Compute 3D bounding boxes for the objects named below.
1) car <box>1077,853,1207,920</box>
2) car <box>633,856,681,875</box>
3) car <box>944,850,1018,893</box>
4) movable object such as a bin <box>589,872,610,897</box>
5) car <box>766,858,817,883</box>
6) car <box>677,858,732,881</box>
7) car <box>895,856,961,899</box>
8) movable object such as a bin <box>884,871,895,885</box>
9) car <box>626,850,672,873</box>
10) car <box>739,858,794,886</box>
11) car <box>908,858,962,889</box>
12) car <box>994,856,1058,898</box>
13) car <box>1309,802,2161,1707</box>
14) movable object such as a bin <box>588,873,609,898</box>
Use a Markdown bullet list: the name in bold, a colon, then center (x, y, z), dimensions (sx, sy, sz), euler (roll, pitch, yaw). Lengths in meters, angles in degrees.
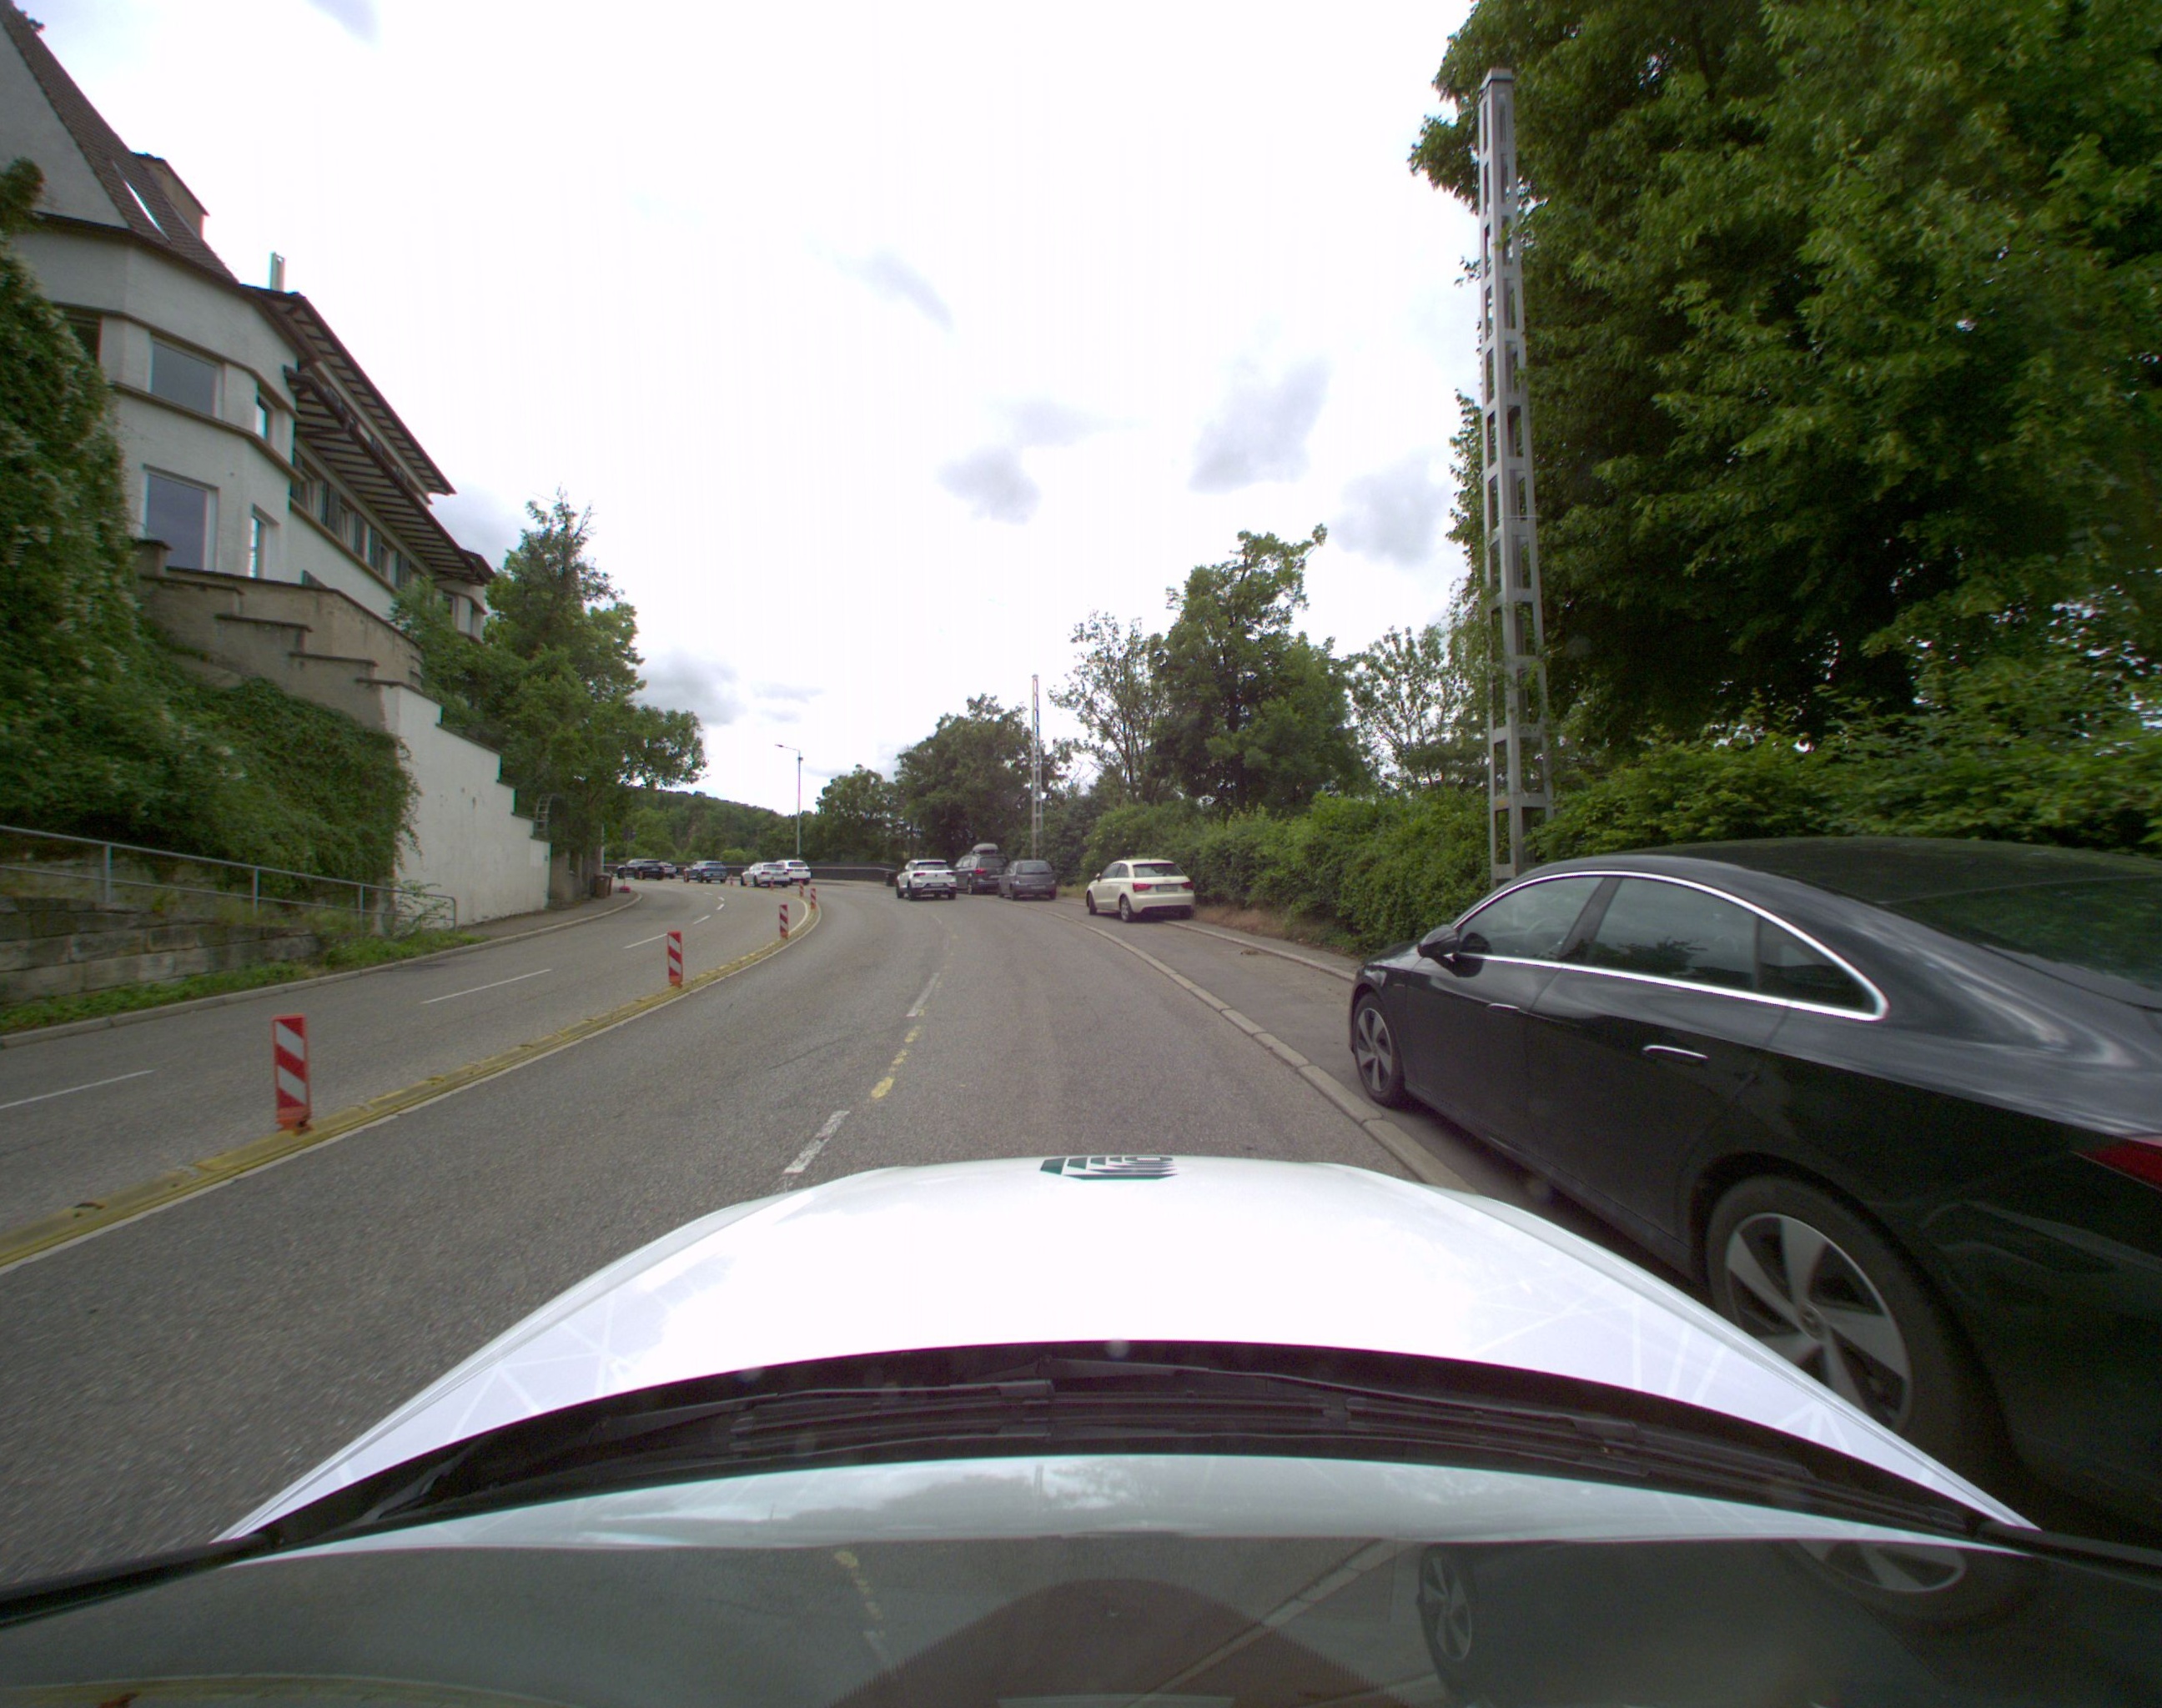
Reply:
- **car**: center (1.378, 0.743, 20.165), dimensions (1.782, 1.418, 3.975), euler (-2, 0, -19)
- **car**: center (-35.848, 0.991, 68.935), dimensions (3.493, 1.525, 1.709), euler (1, -1, 23)
- **car**: center (-4.463, 0.747, 35.686), dimensions (1.808, 1.772, 4.567), euler (1, -1, -26)
- **movable object such as a bin**: center (-18.911, 1.206, 31.991), dimensions (0.610, 0.949, 0.575), euler (2, -2, -27)
- **car**: center (-19.100, 1.053, 53.621), dimensions (2.009, 1.586, 3.954), euler (2, -2, -38)
- **car**: center (-26.492, 1.092, 57.212), dimensions (3.959, 1.541, 2.012), euler (0, -2, 41)
- **car**: center (-6.111, 0.899, 32.262), dimensions (1.874, 1.536, 3.776), euler (-1, 0, -21)
- **movable object such as a bin**: center (-12.107, 1.513, 51.492), dimensions (0.524, 0.881, 0.526), euler (2, -2, -37)
- **car**: center (-34.334, 0.589, 64.622), dimensions (3.949, 1.690, 1.832), euler (0, -2, 40)
- **car**: center (-18.790, 1.081, 48.563), dimensions (1.922, 1.574, 3.954), euler (2, -2, -39)
- **car**: center (-7.441, 0.949, 41.206), dimensions (1.668, 1.487, 4.000), euler (1, -1, -26)
- **car**: center (-2.117, 0.818, 30.457), dimensions (1.644, 1.464, 3.978), euler (0, -1, -16)
- **car**: center (2.510, 0.625, 3.359), dimensions (1.696, 1.464, 4.661), euler (-2, 0, -2)
- **movable object such as a bin**: center (-18.651, 1.201, 31.490), dimensions (0.610, 0.949, 0.551), euler (2, -2, -27)
